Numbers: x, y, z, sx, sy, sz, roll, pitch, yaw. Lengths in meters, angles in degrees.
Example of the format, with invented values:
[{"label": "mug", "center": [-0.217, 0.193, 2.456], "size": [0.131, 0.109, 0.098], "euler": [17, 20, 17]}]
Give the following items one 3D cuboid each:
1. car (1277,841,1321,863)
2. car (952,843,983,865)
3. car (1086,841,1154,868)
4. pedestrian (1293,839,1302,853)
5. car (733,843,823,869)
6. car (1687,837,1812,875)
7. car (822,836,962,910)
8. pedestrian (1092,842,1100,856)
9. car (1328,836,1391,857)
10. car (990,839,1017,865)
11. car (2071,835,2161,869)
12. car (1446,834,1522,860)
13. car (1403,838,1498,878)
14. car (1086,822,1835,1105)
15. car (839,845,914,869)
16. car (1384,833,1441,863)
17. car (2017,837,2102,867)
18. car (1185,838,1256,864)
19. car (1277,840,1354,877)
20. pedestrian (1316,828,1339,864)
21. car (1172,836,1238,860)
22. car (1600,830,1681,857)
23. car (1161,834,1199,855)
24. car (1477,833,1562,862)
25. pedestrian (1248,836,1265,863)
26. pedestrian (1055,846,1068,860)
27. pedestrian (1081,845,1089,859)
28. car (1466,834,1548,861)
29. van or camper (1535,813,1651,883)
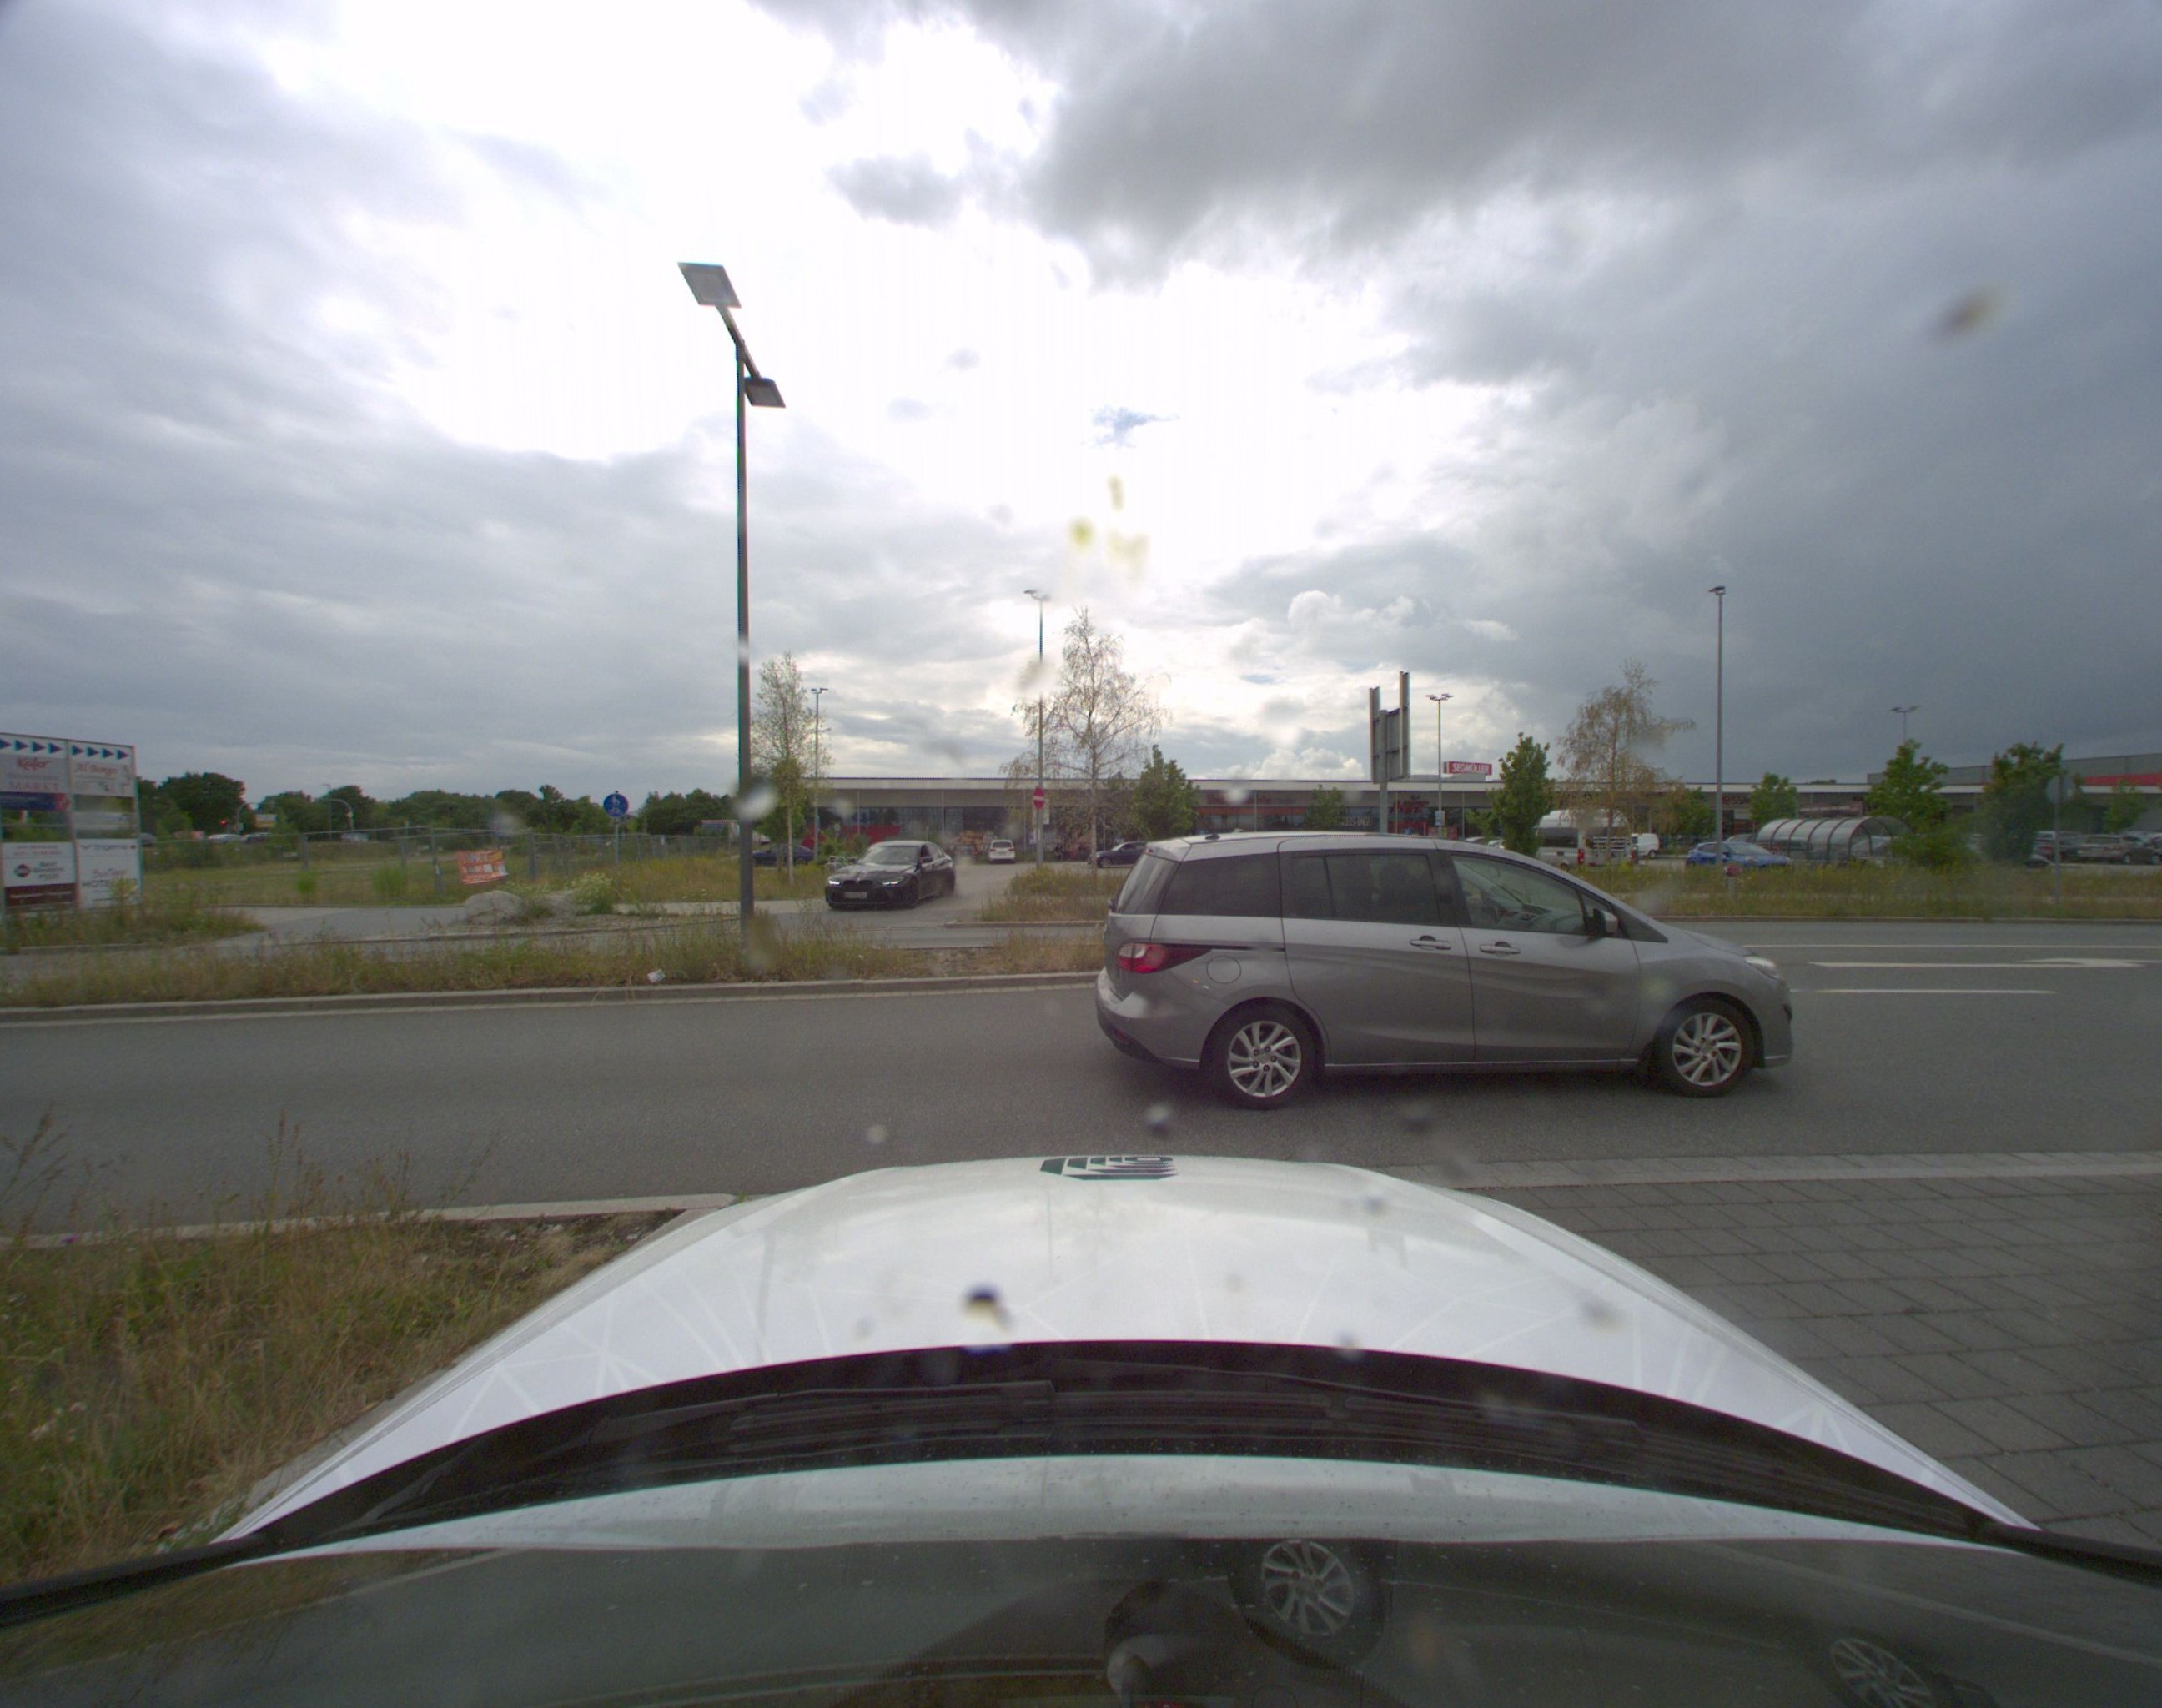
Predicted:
[{"label": "car", "center": [16.348, -0.174, 61.303], "size": [1.990, 1.508, 3.994], "euler": [0, 1, -5]}, {"label": "car", "center": [-8.035, -0.032, 57.854], "size": [1.903, 1.443, 3.994], "euler": [-1, 1, -4]}, {"label": "car", "center": [2.204, 0.027, 46.034], "size": [3.605, 1.454, 1.663], "euler": [-1, 1, -8]}, {"label": "pedestrian", "center": [18.337, -0.661, 68.996], "size": [0.559, 1.201, 0.527], "euler": [-1, 1, -7]}, {"label": "car", "center": [-18.955, 0.098, 51.163], "size": [5.010, 1.557, 1.992], "euler": [0, 0, -12]}, {"label": "car", "center": [26.050, 0.070, 31.936], "size": [1.795, 1.384, 4.157], "euler": [0, 0, 6]}, {"label": "car", "center": [-4.259, 0.353, 19.179], "size": [1.771, 1.445, 4.618], "euler": [-1, 2, 6]}, {"label": "pedestrian", "center": [1.229, -0.403, 67.240], "size": [0.576, 1.124, 0.560], "euler": [-1, 1, -11]}, {"label": "car", "center": [20.560, -0.596, 60.249], "size": [3.982, 1.508, 1.996], "euler": [0, 1, -6]}, {"label": "car", "center": [-5.504, -0.155, 58.266], "size": [1.821, 1.699, 4.228], "euler": [-1, 2, -4]}, {"label": "car", "center": [56.482, -0.158, 44.251], "size": [3.994, 1.733, 1.990], "euler": [-1, 1, -15]}, {"label": "car", "center": [26.081, -0.436, 52.817], "size": [3.972, 1.618, 2.001], "euler": [-1, 1, 1]}, {"label": "car", "center": [14.543, 0.131, 32.336], "size": [1.981, 1.451, 4.151], "euler": [0, 0, 1]}, {"label": "car", "center": [2.264, 0.586, 5.645], "size": [4.376, 1.562, 1.820], "euler": [-1, 2, -3]}, {"label": "car", "center": [-11.608, 0.167, 46.518], "size": [3.987, 1.352, 1.994], "euler": [0, 0, -10]}, {"label": "car", "center": [19.243, -0.368, 47.476], "size": [1.807, 1.653, 4.002], "euler": [-1, 1, 2]}, {"label": "car", "center": [56.336, -0.134, 46.914], "size": [3.832, 1.653, 1.754], "euler": [-1, 1, -16]}, {"label": "car", "center": [8.034, -0.204, 47.167], "size": [3.743, 1.454, 1.664], "euler": [0, 1, -7]}, {"label": "car", "center": [9.360, 0.164, 32.796], "size": [1.981, 1.384, 4.151], "euler": [0, 0, 1]}, {"label": "pedestrian", "center": [13.952, -0.463, 46.135], "size": [0.991, 2.013, 0.873], "euler": [0, 1, 41]}, {"label": "car", "center": [7.576, -0.372, 49.996], "size": [3.743, 1.454, 1.664], "euler": [0, 1, -7]}, {"label": "car", "center": [37.827, -0.711, 55.119], "size": [4.413, 1.819, 1.994], "euler": [0, 0, -10]}, {"label": "car", "center": [7.319, -0.695, 60.465], "size": [1.990, 1.508, 3.994], "euler": [-1, 1, -5]}, {"label": "car", "center": [25.740, -0.395, 47.900], "size": [3.972, 1.618, 2.001], "euler": [-1, 1, 1]}, {"label": "pedestrian", "center": [10.817, -0.293, 50.120], "size": [0.819, 1.631, 0.898], "euler": [0, 0, -2]}, {"label": "pedestrian", "center": [-1.658, -0.096, 68.266], "size": [0.970, 1.154, 1.130], "euler": [-1, 1, -9]}, {"label": "pedestrian", "center": [0.337, -0.177, 68.000], "size": [0.576, 1.124, 0.560], "euler": [-1, 1, -11]}, {"label": "car", "center": [26.142, -0.414, 50.070], "size": [3.972, 1.618, 2.001], "euler": [-1, 1, 1]}, {"label": "van or camper", "center": [19.392, -0.221, 31.099], "size": [2.271, 2.492, 4.007], "euler": [0, 0, 6]}]
